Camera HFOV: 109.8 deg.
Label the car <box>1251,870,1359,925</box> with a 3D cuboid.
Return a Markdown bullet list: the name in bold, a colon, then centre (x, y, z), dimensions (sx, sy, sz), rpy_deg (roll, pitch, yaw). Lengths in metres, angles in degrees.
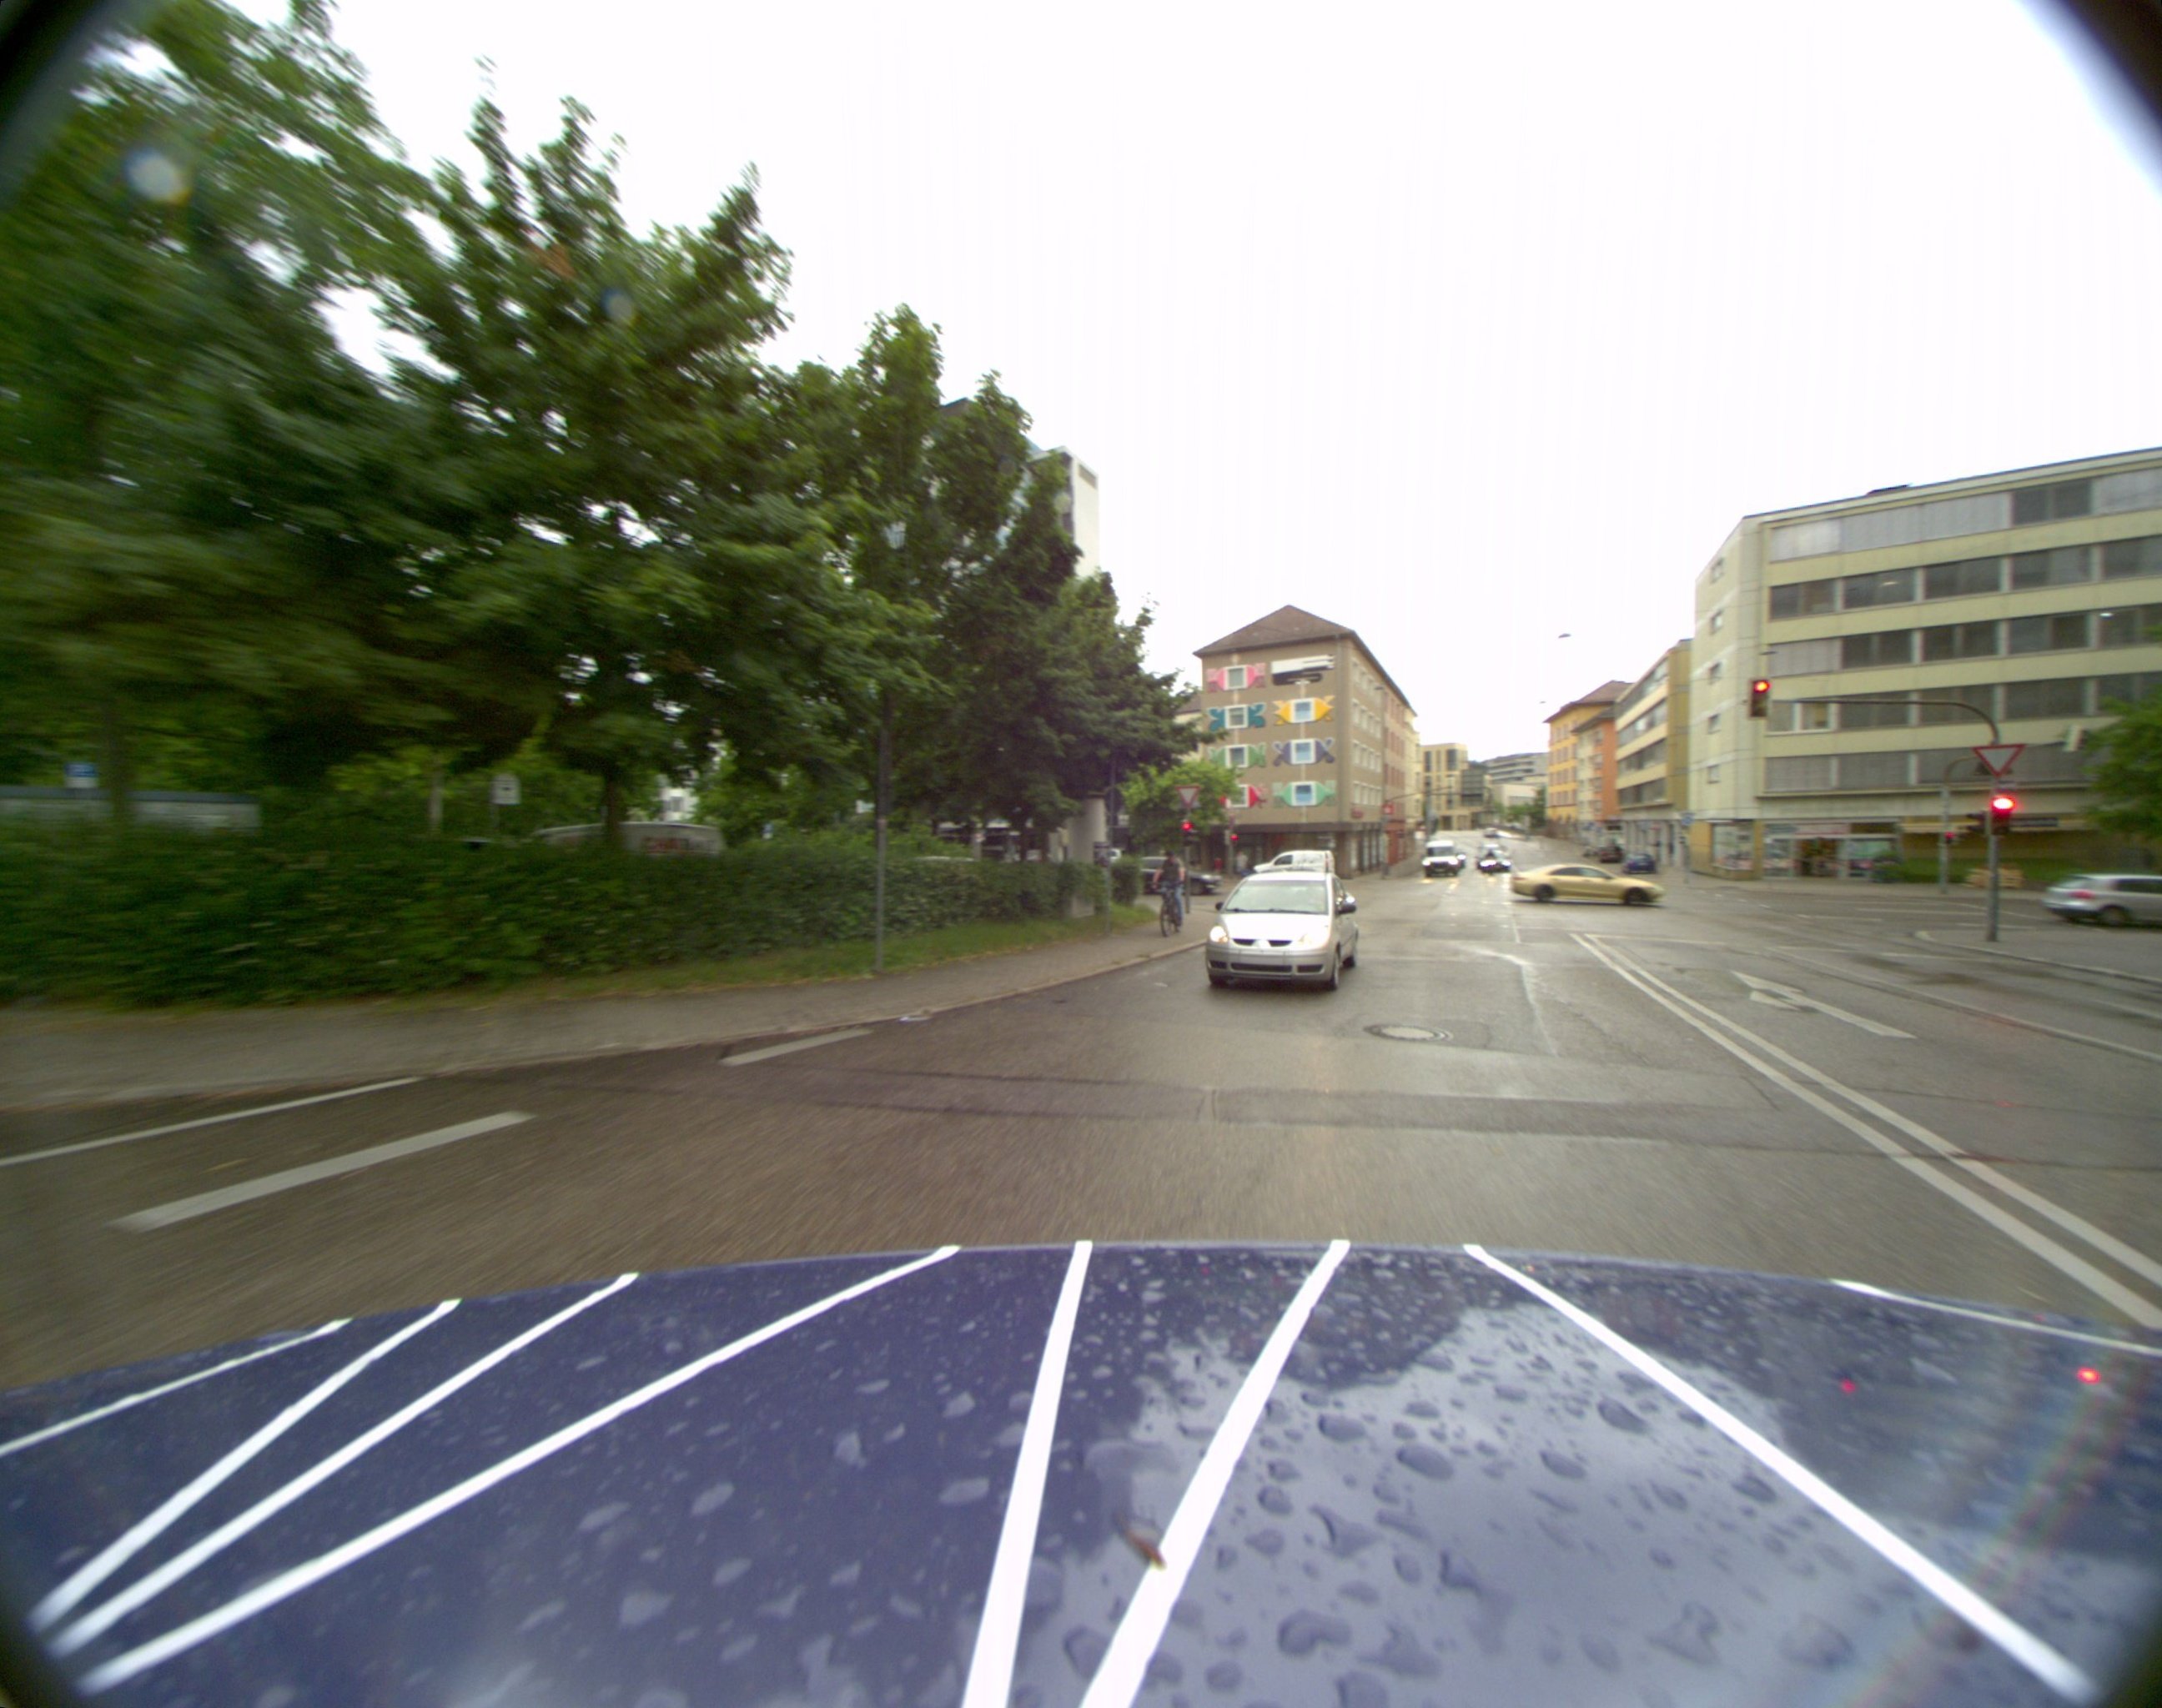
- **car**: centre (6.691, 1.266, 23.238), dimensions (1.687, 1.495, 4.501), rpy_deg (-1, -1, -4)

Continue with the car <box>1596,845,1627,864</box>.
- **car**: centre (47.960, 0.010, 68.731), dimensions (1.845, 1.557, 4.377), rpy_deg (-3, -1, 29)

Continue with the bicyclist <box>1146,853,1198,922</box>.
- **bicyclist**: centre (2.086, 0.740, 17.258), dimensions (0.886, 1.481, 0.970), rpy_deg (2, 1, 23)

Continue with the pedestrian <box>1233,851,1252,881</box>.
- **pedestrian**: centre (9.660, 0.727, 45.477), dimensions (0.901, 1.764, 0.819), rpy_deg (1, 1, 28)

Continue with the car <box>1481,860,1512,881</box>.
- **car**: centre (30.084, 1.179, 54.965), dimensions (1.845, 1.411, 3.576), rpy_deg (-3, -1, 29)

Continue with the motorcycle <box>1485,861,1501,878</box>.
- **motorcycle**: centre (27.370, 1.007, 50.463), dimensions (0.877, 1.093, 1.803), rpy_deg (0, 1, 29)

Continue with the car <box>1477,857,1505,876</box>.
- **car**: centre (33.283, 0.993, 61.598), dimensions (1.845, 1.411, 3.576), rpy_deg (-3, -1, 29)

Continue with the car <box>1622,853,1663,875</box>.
- **car**: centre (39.349, 0.686, 53.328), dimensions (1.845, 1.411, 3.576), rpy_deg (-3, -1, 29)

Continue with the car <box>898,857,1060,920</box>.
- **car**: centre (-2.848, 0.908, 21.060), dimensions (4.201, 1.611, 1.640), rpy_deg (0, -1, 24)

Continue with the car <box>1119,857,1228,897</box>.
- **car**: centre (4.220, 1.009, 34.775), dimensions (4.569, 1.571, 1.994), rpy_deg (1, 3, 26)

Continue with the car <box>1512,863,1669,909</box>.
- **car**: centre (18.377, 1.112, 27.704), dimensions (4.569, 1.433, 1.995), rpy_deg (1, 1, 28)

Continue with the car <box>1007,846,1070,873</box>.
- **car**: centre (-2.963, 0.341, 52.771), dimensions (4.174, 1.657, 1.653), rpy_deg (2, 4, 28)

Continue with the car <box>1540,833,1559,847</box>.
- **car**: centre (58.532, -1.737, 94.990), dimensions (1.845, 1.557, 4.377), rpy_deg (-3, -1, 29)

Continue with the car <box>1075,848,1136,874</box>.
- **car**: centre (1.797, 0.471, 55.536), dimensions (4.174, 1.657, 1.653), rpy_deg (2, 4, 28)

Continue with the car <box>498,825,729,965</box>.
- **car**: centre (-7.729, 0.606, 12.433), dimensions (4.200, 1.948, 1.641), rpy_deg (0, -1, 35)

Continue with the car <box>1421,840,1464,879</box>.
- **car**: centre (25.445, 0.354, 53.363), dimensions (2.227, 2.509, 5.481), rpy_deg (-2, 0, 30)

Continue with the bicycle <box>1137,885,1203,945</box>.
- **bicycle**: centre (2.039, 1.333, 17.203), dimensions (0.886, 1.180, 2.137), rpy_deg (2, 0, 23)

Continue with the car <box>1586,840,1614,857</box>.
- **car**: centre (50.909, -0.570, 74.630), dimensions (1.845, 1.557, 4.377), rpy_deg (-3, -1, 29)

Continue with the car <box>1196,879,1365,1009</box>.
- **car**: centre (3.048, 1.153, 11.030), dimensions (1.684, 1.495, 3.846), rpy_deg (-2, -2, 25)

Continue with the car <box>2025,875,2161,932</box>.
- **car**: centre (30.137, 1.407, 21.418), dimensions (4.025, 1.417, 1.691), rpy_deg (1, 2, 28)

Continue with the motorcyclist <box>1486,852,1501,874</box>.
- **motorcyclist**: centre (27.417, 0.592, 50.536), dimensions (0.877, 1.471, 0.798), rpy_deg (0, 1, 29)

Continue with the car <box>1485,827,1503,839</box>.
- **car**: centre (66.417, -3.374, 122.331), dimensions (1.846, 1.699, 4.373), rpy_deg (0, 3, 19)

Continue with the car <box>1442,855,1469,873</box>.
- **car**: centre (32.730, 0.877, 66.377), dimensions (1.845, 1.411, 3.576), rpy_deg (-3, -1, 29)

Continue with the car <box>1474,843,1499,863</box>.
- **car**: centre (37.515, -0.064, 70.247), dimensions (1.845, 1.704, 3.576), rpy_deg (-3, -1, 29)

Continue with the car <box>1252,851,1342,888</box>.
- **car**: centre (11.569, 0.763, 40.775), dimensions (4.218, 1.844, 1.995), rpy_deg (1, 1, 31)
